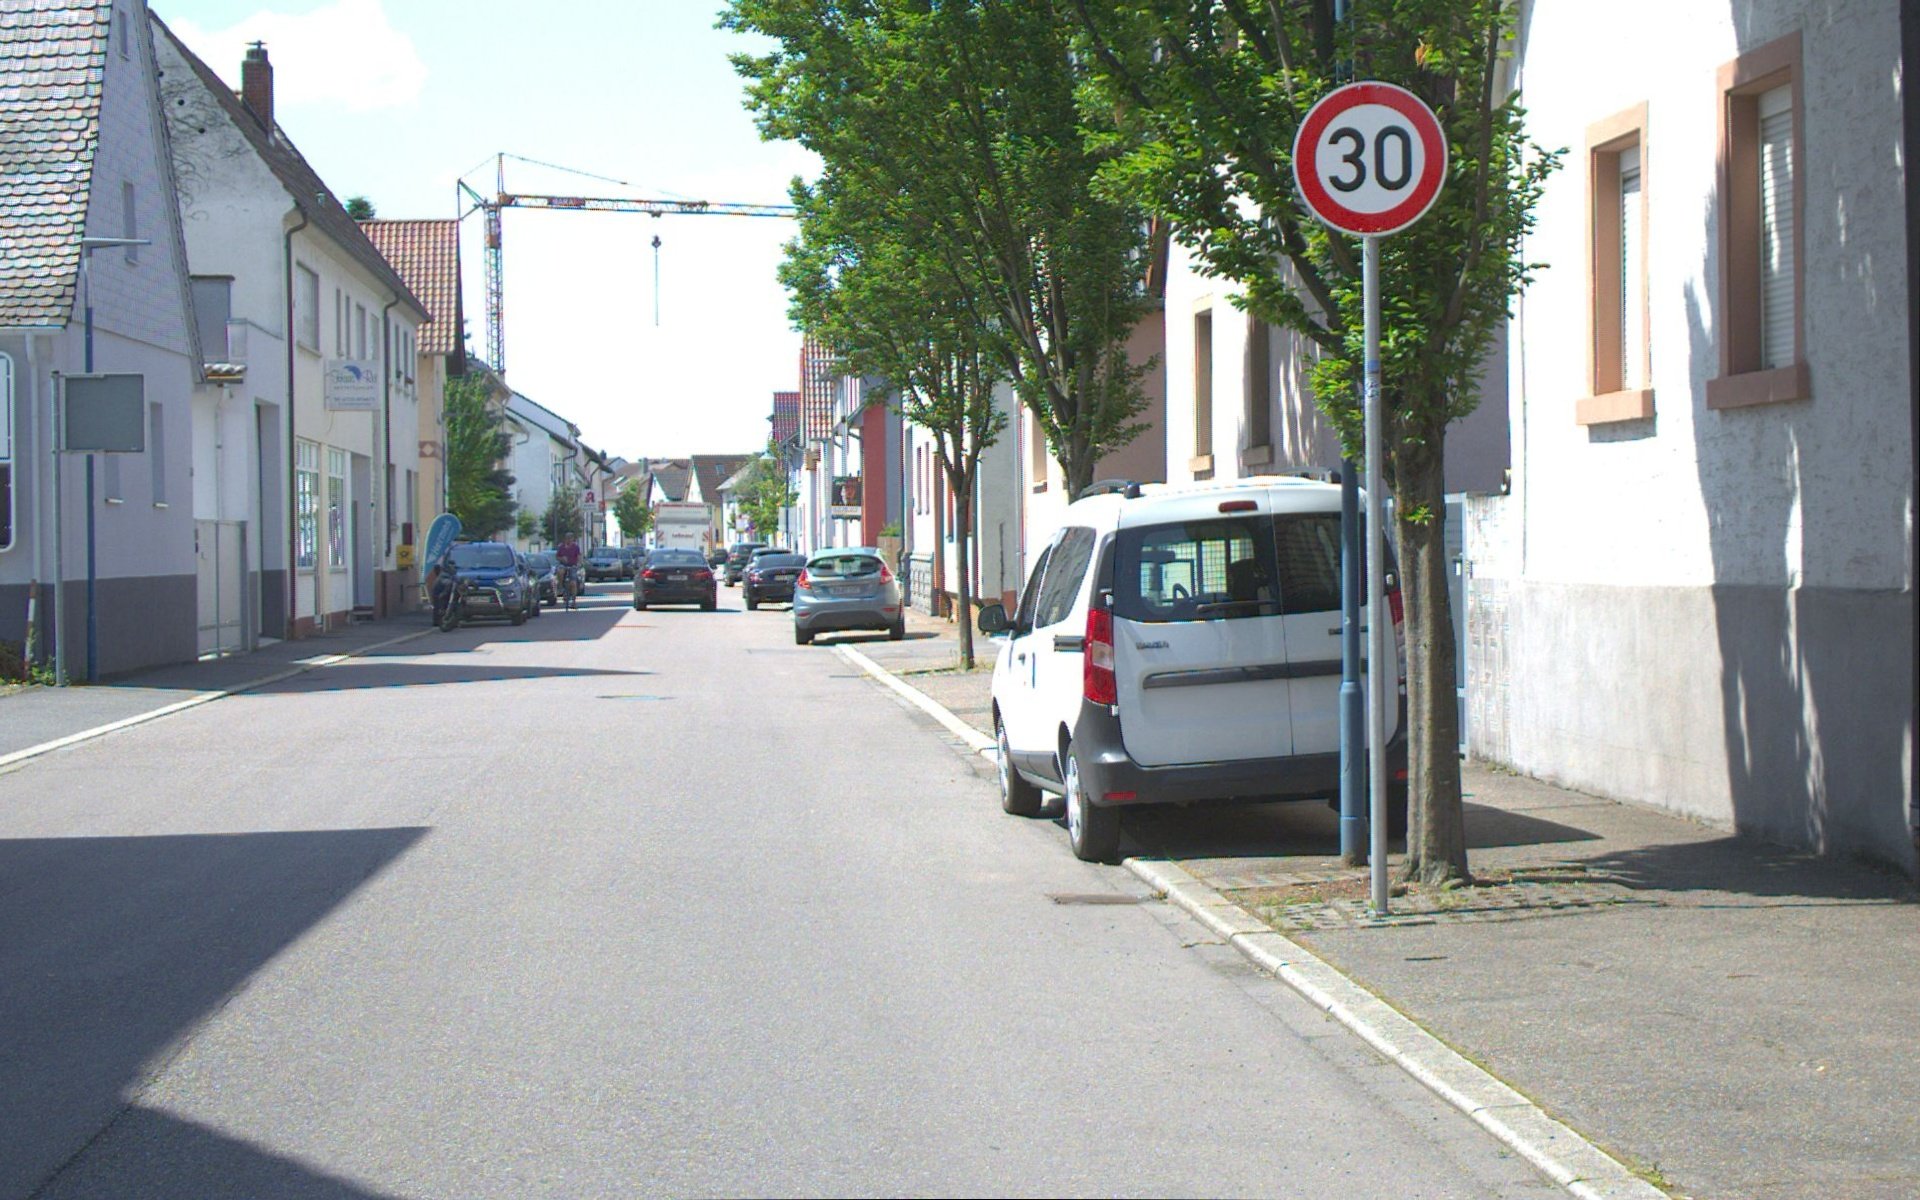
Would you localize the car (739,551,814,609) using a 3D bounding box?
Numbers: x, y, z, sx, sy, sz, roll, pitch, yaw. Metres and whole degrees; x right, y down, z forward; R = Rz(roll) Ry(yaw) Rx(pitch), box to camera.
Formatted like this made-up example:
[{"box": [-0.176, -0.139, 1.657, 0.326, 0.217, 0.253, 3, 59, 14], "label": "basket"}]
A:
[{"box": [-4.449, -0.508, 82.872, 1.719, 1.350, 4.157, 0, 1, -4], "label": "car"}]

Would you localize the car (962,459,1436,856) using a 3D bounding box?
[{"box": [1.120, 0.227, 18.040, 1.719, 1.784, 4.145, -2, 1, -6], "label": "car"}]

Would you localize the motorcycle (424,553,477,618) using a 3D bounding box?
[{"box": [-9.554, -0.279, 64.572, 0.846, 1.166, 2.470, 1, 0, -6], "label": "motorcycle"}]

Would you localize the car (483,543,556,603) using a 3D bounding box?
[{"box": [-11.935, -0.746, 93.275, 1.809, 1.583, 4.001, 0, 1, -5], "label": "car"}]

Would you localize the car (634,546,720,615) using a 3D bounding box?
[{"box": [-6.611, -0.480, 80.661, 1.902, 1.558, 4.477, 0, 1, -3], "label": "car"}]

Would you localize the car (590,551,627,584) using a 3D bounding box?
[{"box": [-17.350, -1.604, 169.779, 1.809, 1.583, 4.001, 0, 1, -5], "label": "car"}]

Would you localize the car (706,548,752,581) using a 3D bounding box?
[{"box": [-8.854, -1.369, 131.674, 1.719, 1.264, 4.157, 0, 1, -4], "label": "car"}]

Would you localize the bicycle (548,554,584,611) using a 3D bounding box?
[{"box": [-9.256, -0.426, 80.779, 0.751, 1.303, 2.686, 1, 0, -5], "label": "bicycle"}]

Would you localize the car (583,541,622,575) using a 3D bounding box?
[{"box": [-16.958, -1.991, 163.160, 1.809, 1.583, 4.001, 0, 1, -5], "label": "car"}]

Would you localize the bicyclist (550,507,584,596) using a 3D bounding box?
[{"box": [-9.251, -1.135, 80.908, 0.740, 2.052, 0.844, 1, 0, -5], "label": "bicyclist"}]

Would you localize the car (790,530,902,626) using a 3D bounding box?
[{"box": [-1.844, -0.368, 54.603, 1.719, 1.456, 4.157, 0, 1, -3], "label": "car"}]

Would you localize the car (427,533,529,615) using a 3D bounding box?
[{"box": [-9.570, -0.528, 68.480, 1.809, 1.583, 4.001, 0, 1, -5], "label": "car"}]

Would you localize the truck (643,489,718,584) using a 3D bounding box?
[{"box": [-12.940, -2.912, 159.752, 3.144, 4.236, 9.303, 1, 0, -3], "label": "truck"}]
